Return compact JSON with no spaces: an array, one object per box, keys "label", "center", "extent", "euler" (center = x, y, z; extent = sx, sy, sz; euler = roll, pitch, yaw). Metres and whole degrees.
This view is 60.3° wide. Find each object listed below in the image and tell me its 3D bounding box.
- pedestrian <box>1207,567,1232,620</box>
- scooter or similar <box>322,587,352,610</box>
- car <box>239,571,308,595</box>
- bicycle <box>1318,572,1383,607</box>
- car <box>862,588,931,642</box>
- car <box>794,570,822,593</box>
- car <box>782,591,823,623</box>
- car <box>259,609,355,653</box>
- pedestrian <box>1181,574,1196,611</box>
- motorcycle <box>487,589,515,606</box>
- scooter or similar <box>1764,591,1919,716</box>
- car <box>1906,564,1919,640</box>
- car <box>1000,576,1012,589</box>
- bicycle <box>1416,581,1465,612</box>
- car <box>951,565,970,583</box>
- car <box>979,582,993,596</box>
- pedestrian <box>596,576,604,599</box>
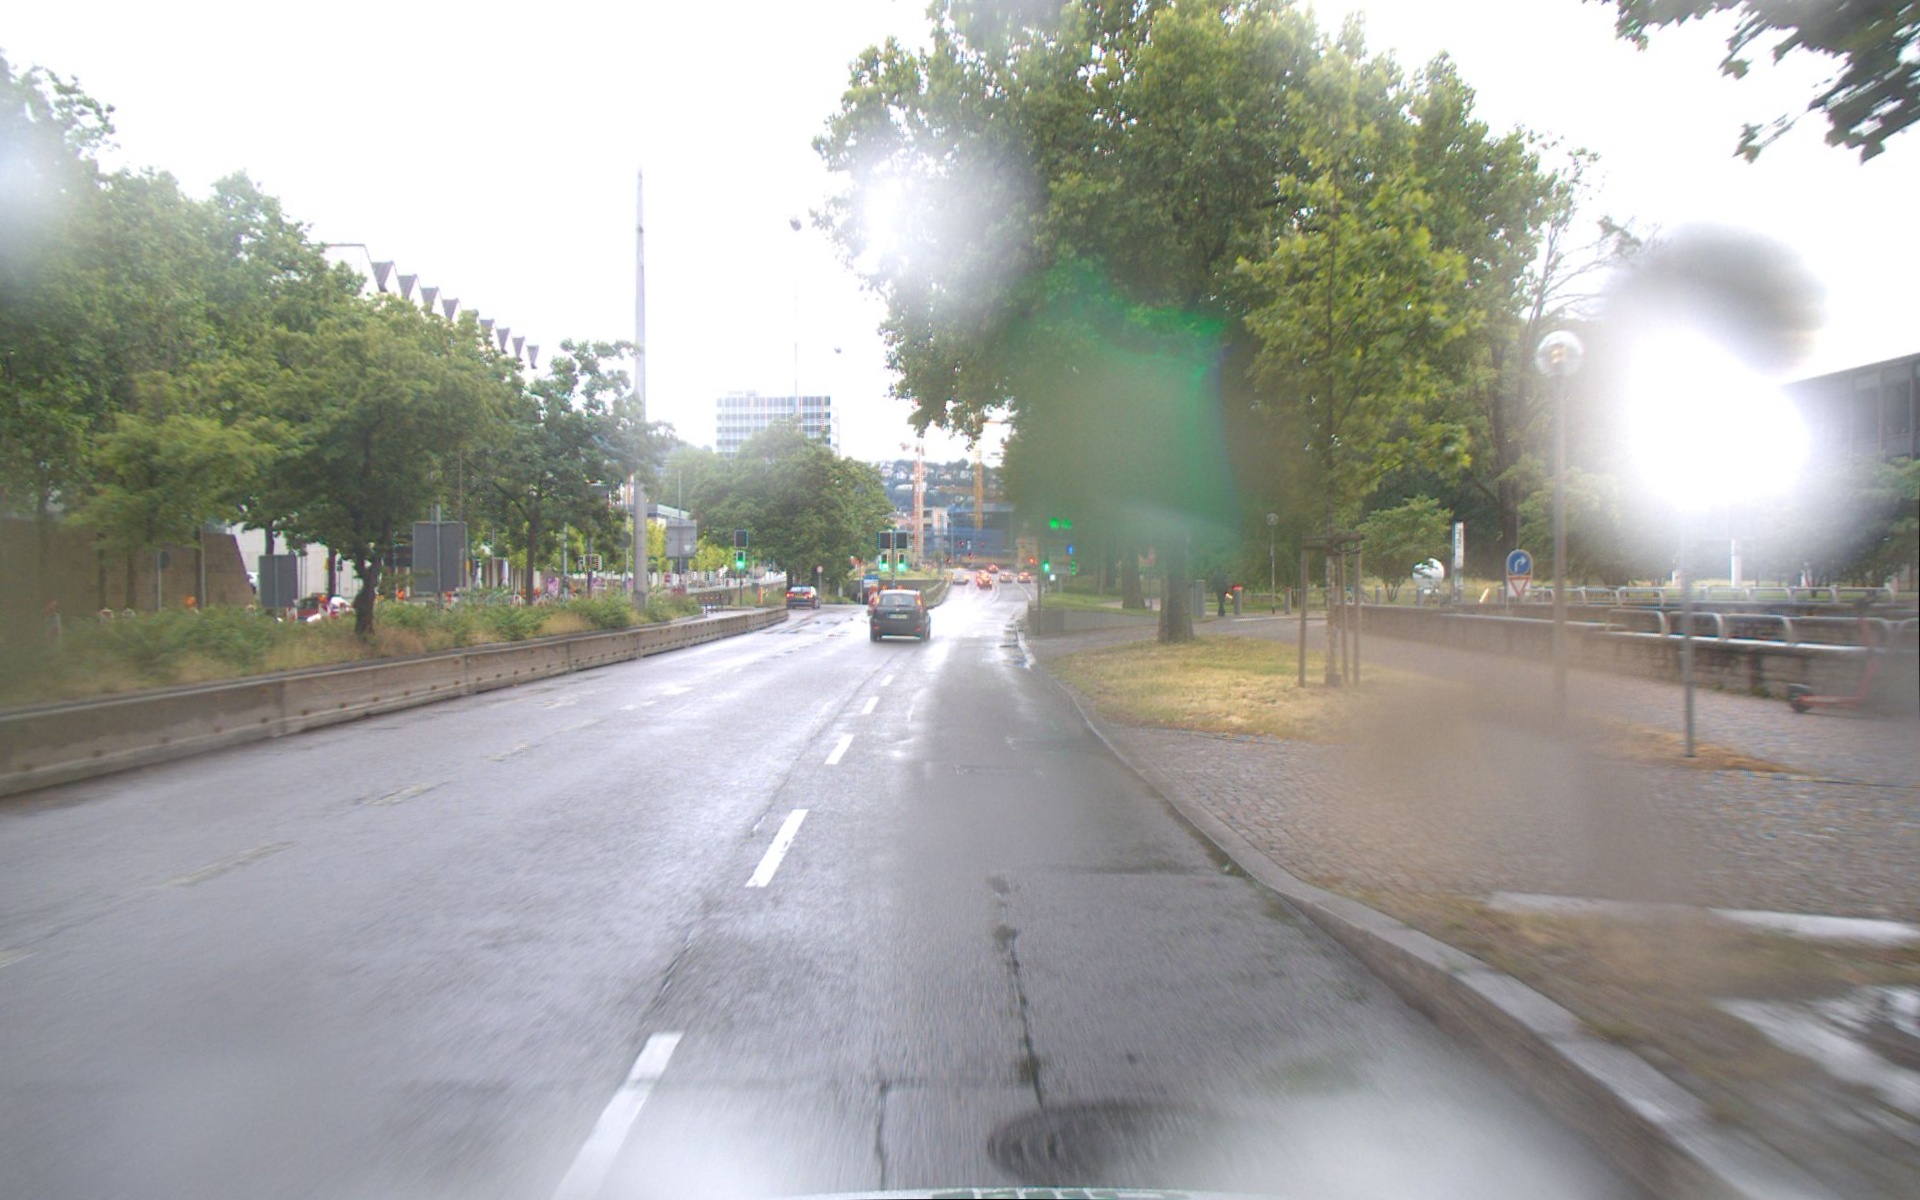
[{"label":"pedestrian","center":[8.651,-0.228,55.087],"extent":[0.690,1.748,0.692],"euler":[-2,1,1]},{"label":"scooter or similar","center":[-37.305,-0.089,99.046],"extent":[0.697,1.375,1.675],"euler":[-2,0,21]},{"label":"car","center":[-47.370,-1.148,114.144],"extent":[3.906,1.624,1.999],"euler":[0,0,-2]},{"label":"bicycle","center":[13.686,-0.376,57.955],"extent":[1.997,1.194,0.958],"euler":[-1,1,-10]},{"label":"car","center":[-1.866,0.419,47.626],"extent":[1.808,1.441,3.835],"euler":[-2,0,-5]},{"label":"car","center":[-11.170,-1.361,122.001],"extent":[1.954,1.660,3.997],"euler":[0,0,-4]},{"label":"car","center":[-9.417,0.393,99.173],"extent":[1.952,1.812,4.001],"euler":[-1,1,2]},{"label":"car","center":[-24.628,1.145,62.506],"extent":[1.952,1.557,4.000],"euler":[-2,0,1]},{"label":"pedestrian","center":[11.282,-0.373,81.547],"extent":[0.582,1.786,0.725],"euler":[-2,1,-2]},{"label":"motorcycle","center":[-32.059,-0.165,115.490],"extent":[1.812,1.174,0.423],"euler":[-1,0,-27]},{"label":"scooter or similar","center":[9.470,0.551,17.775],"extent":[0.536,1.277,1.421],"euler":[-2,1,-32]},{"label":"car","center":[22.577,-0.031,35.188],"extent":[3.904,1.628,1.657],"euler":[-2,0,2]},{"label":"car","center":[7.256,-2.763,261.586],"extent":[1.946,2.049,4.001],"euler":[0,1,2]},{"label":"bicycle","center":[17.854,-0.129,61.521],"extent":[1.609,1.104,0.709],"euler":[-1,1,-5]},{"label":"car","center":[0.067,-3.834,245.646],"extent":[2.173,2.049,4.002],"euler":[-5,-5,7]},{"label":"car","center":[3.545,-1.439,223.988],"extent":[1.703,1.802,4.001],"euler":[-2,0,2]},{"label":"pedestrian","center":[-32.460,-1.098,149.181],"extent":[0.535,2.048,0.524],"euler":[-2,1,-34]}]
